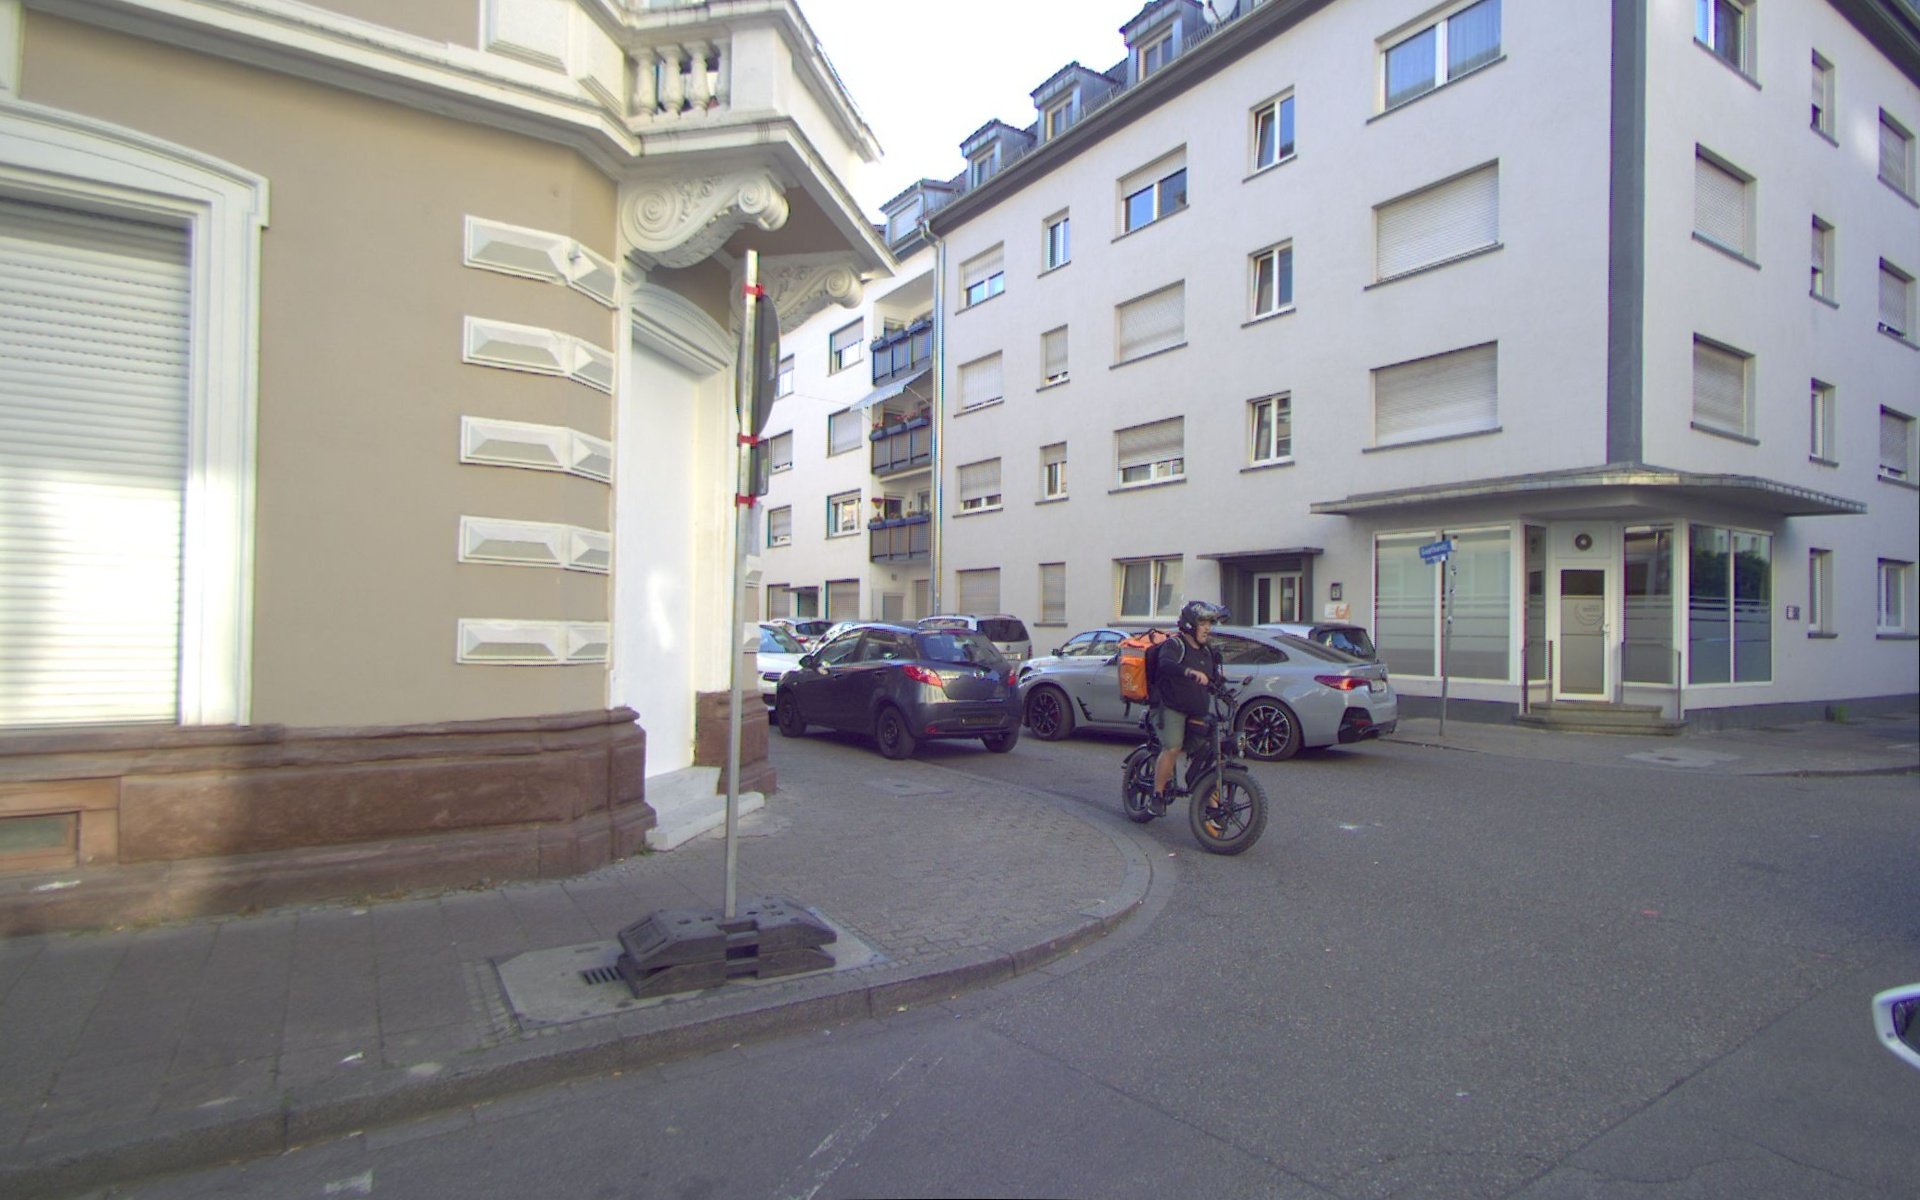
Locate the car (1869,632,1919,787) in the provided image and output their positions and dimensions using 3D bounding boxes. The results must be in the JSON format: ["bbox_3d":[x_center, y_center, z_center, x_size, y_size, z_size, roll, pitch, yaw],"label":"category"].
[{"bbox_3d":[11.419,1.120,10.309,3.952,1.506,1.984,2,-1,-30],"label":"car"}]

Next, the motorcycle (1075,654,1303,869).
[{"bbox_3d":[1.630,1.100,7.446,0.796,1.266,1.688,0,1,-24],"label":"motorcycle"}]

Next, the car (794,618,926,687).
[{"bbox_3d":[-2.664,1.290,25.931,1.611,1.581,4.053,1,-1,-35],"label":"car"}]

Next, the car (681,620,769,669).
[{"bbox_3d":[-8.098,1.483,34.418,1.574,1.507,3.944,1,-1,-35],"label":"car"}]

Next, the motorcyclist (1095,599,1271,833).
[{"bbox_3d":[1.638,0.796,7.504,0.862,1.589,0.993,0,1,-25],"label":"motorcyclist"}]

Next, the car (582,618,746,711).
[{"bbox_3d":[-5.967,1.190,19.938,1.989,1.581,4.054,2,-1,-34],"label":"car"}]

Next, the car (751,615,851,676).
[{"bbox_3d":[-4.796,1.302,29.903,1.640,1.666,3.575,1,-1,-32],"label":"car"}]

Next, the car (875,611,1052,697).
[{"bbox_3d":[-0.018,1.110,22.056,1.979,1.675,4.055,2,-1,-34],"label":"car"}]

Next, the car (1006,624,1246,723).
[{"bbox_3d":[2.826,1.220,18.040,1.947,1.472,4.226,2,-1,-32],"label":"car"}]

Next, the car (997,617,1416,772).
[{"bbox_3d":[2.927,1.006,12.329,4.586,1.506,1.994,0,-1,35],"label":"car"}]

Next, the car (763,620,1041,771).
[{"bbox_3d":[-0.828,1.025,12.199,1.672,1.499,3.551,2,-1,-37],"label":"car"}]

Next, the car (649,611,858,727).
[{"bbox_3d":[-3.415,0.999,16.075,1.817,1.581,4.053,2,-1,-35],"label":"car"}]

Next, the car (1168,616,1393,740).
[{"bbox_3d":[4.588,1.049,14.634,1.630,1.586,2.740,1,-1,-32],"label":"car"}]
